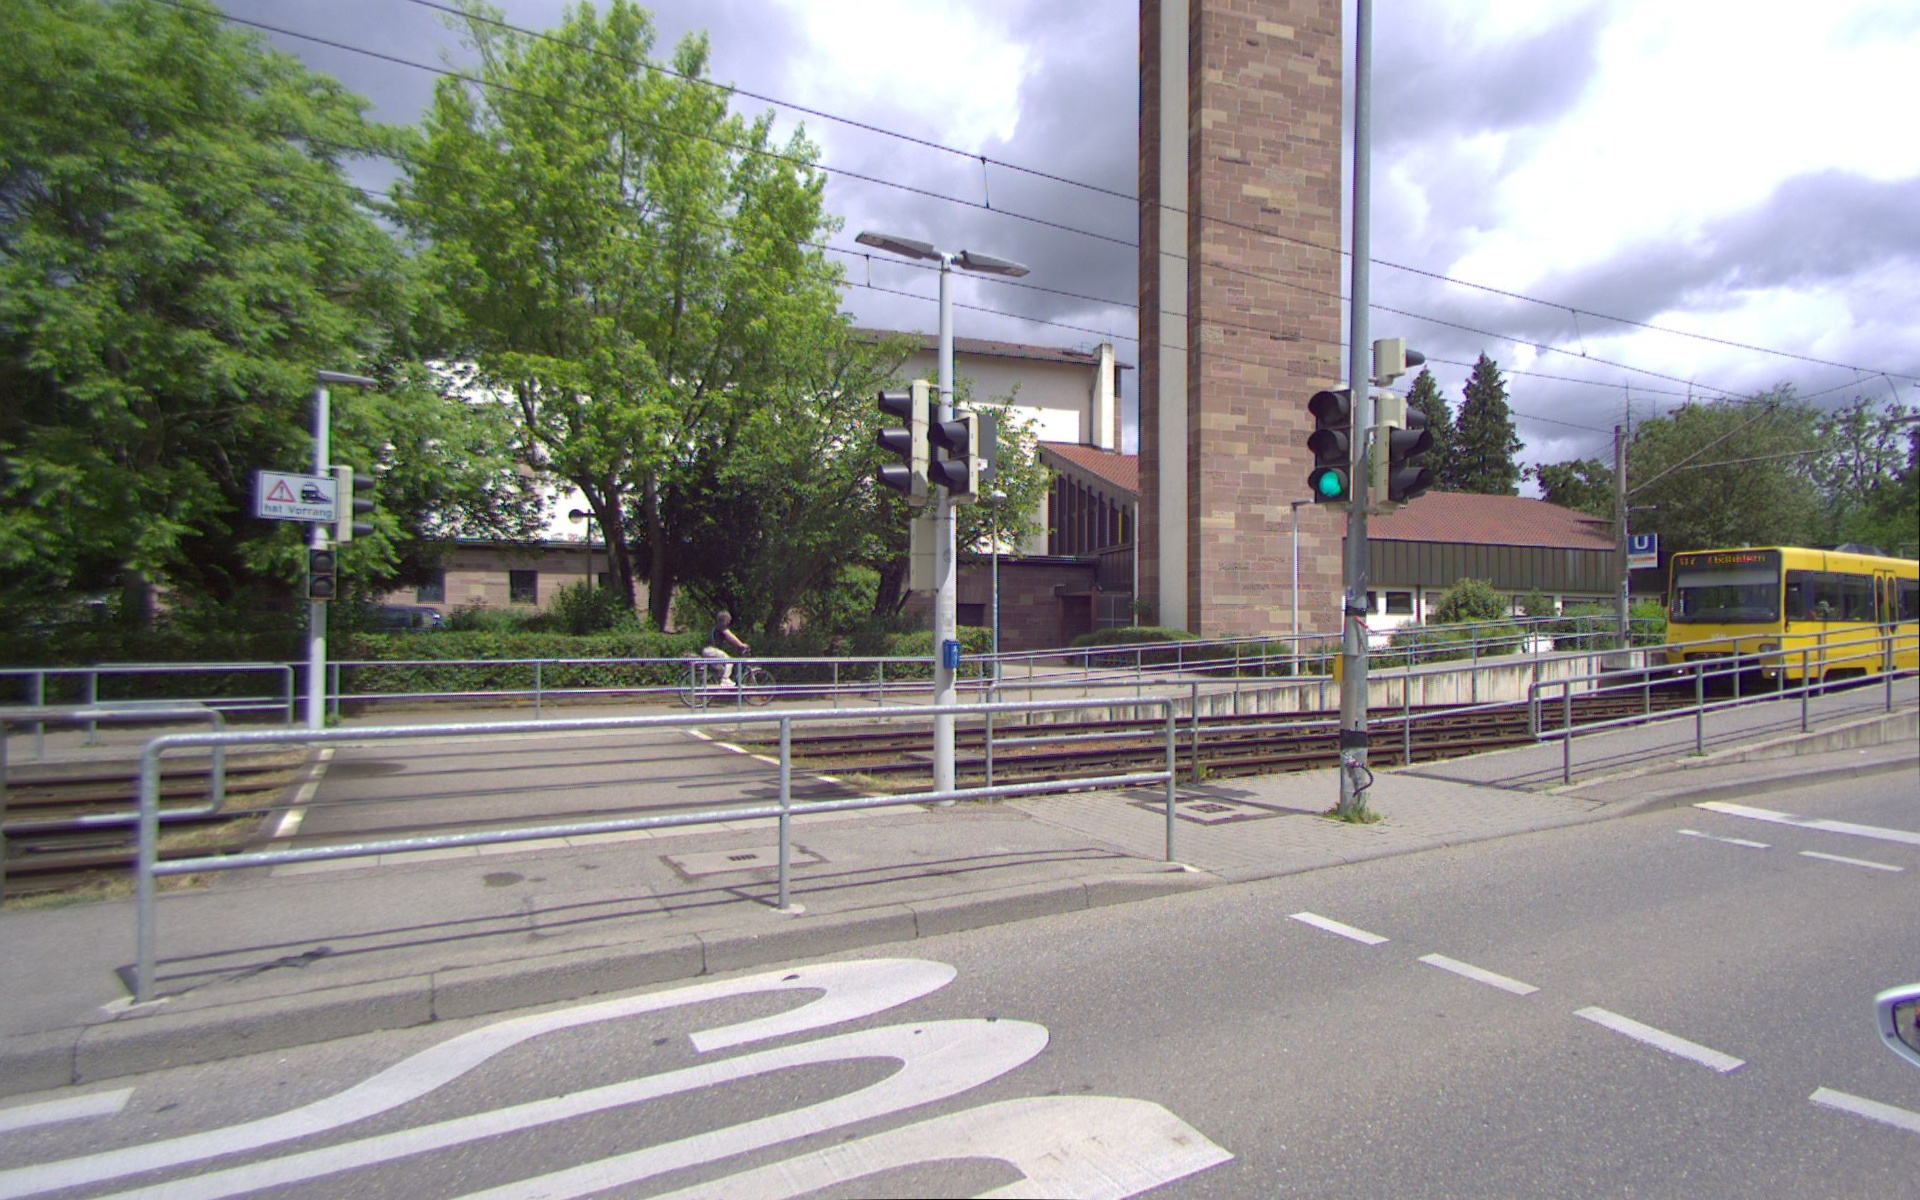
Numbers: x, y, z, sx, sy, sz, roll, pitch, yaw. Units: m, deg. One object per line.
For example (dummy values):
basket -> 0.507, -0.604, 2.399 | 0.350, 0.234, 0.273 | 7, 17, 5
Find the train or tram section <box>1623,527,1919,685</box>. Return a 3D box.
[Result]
train or tram section -> 25.281, 0.351, 28.370 | 18.606, 3.511, 3.093 | 2, 0, -31

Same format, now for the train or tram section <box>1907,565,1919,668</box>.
train or tram section -> 41.351, 0.797, 37.901 | 18.775, 3.511, 3.093 | 2, 0, -31

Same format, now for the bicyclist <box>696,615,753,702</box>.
bicyclist -> -4.052, 0.994, 17.270 | 0.781, 1.448, 0.630 | 1, 0, -30

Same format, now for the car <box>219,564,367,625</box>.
car -> -23.708, -0.154, 35.880 | 3.936, 2.040, 1.993 | 1, -2, -18

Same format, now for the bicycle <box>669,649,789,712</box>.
bicycle -> -3.958, 1.367, 17.279 | 1.906, 1.007, 0.634 | 2, 0, -31
